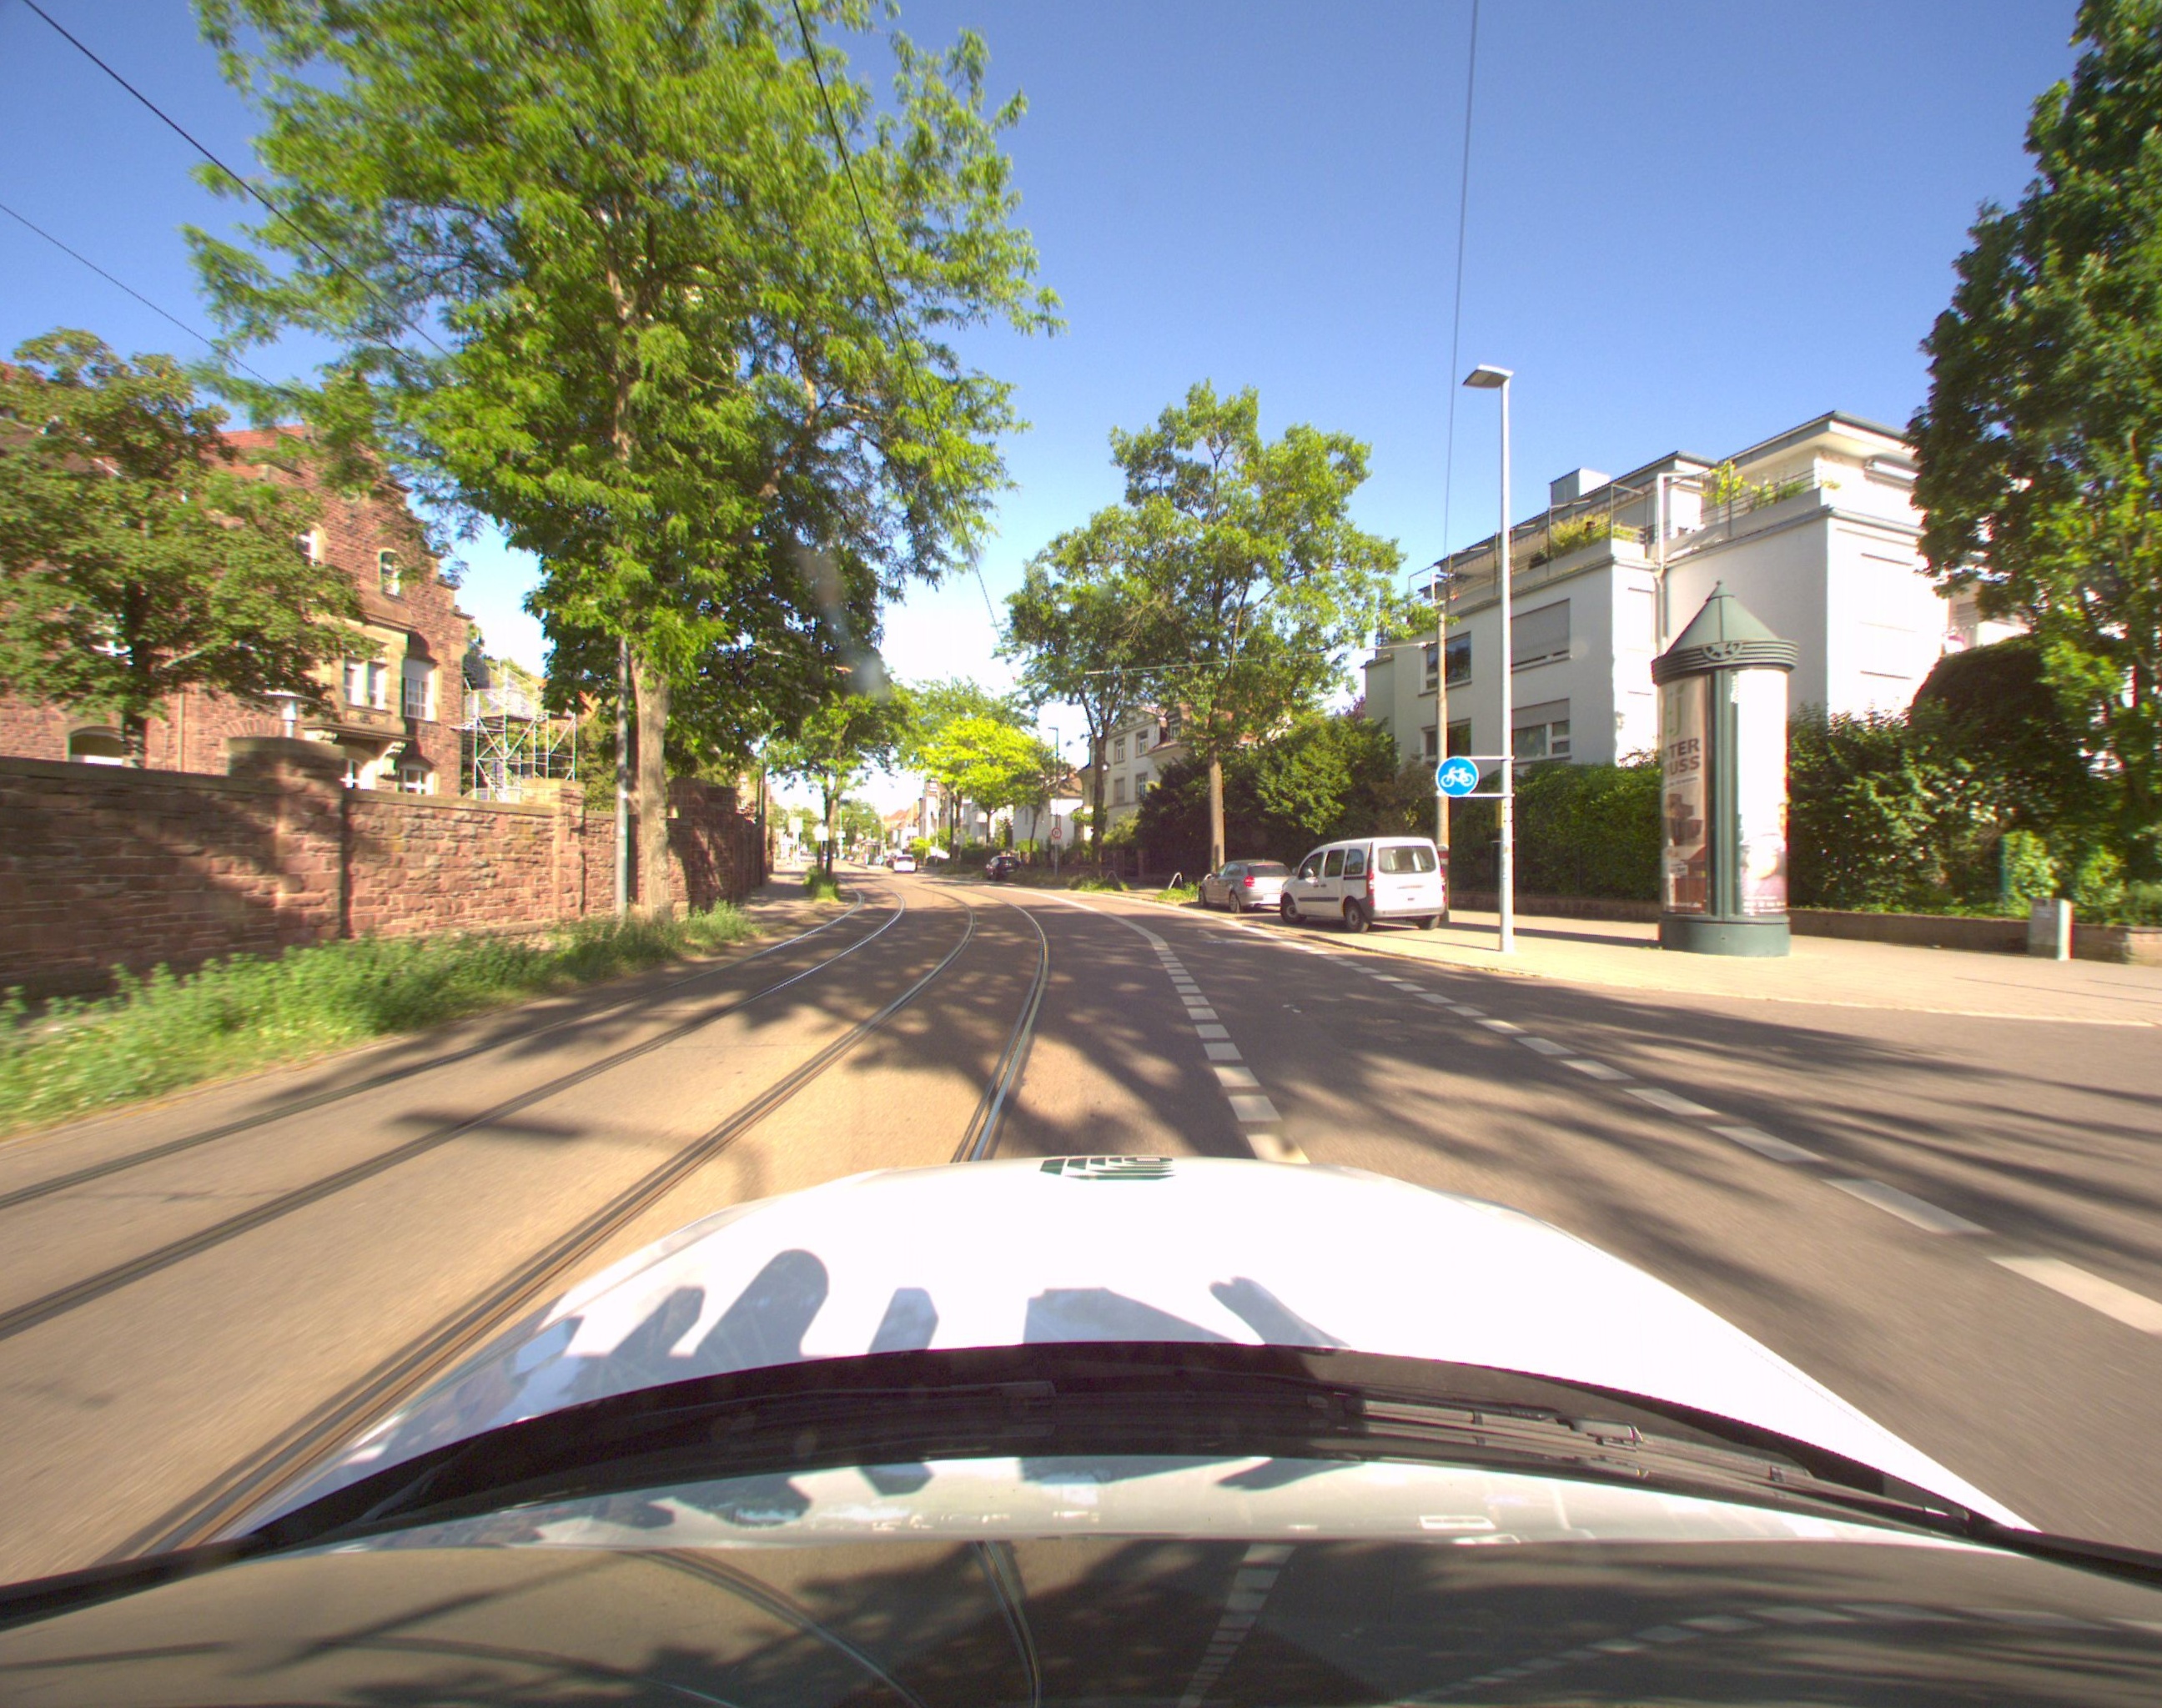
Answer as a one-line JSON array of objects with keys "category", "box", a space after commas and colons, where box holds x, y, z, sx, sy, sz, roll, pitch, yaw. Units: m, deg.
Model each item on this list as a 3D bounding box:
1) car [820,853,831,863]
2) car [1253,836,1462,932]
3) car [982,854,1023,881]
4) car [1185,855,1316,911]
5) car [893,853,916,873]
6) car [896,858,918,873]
[{"category": "car", "box": [-52.354, 0.847, 166.752, 1.999, 1.913, 3.976, 0, -1, -18]}, {"category": "car", "box": [5.619, 0.541, 17.345, 2.025, 1.747, 4.730, 0, 0, -14]}, {"category": "car", "box": [-5.387, 0.892, 55.470, 1.809, 1.694, 4.701, -3, 1, -17]}, {"category": "car", "box": [4.687, 0.771, 23.258, 1.996, 1.423, 4.311, 0, -1, -14]}, {"category": "car", "box": [-15.588, 0.837, 72.061, 1.893, 1.611, 4.212, 0, -2, -11]}, {"category": "car", "box": [-17.258, 1.080, 80.891, 1.993, 1.442, 3.987, 0, 0, -9]}]
